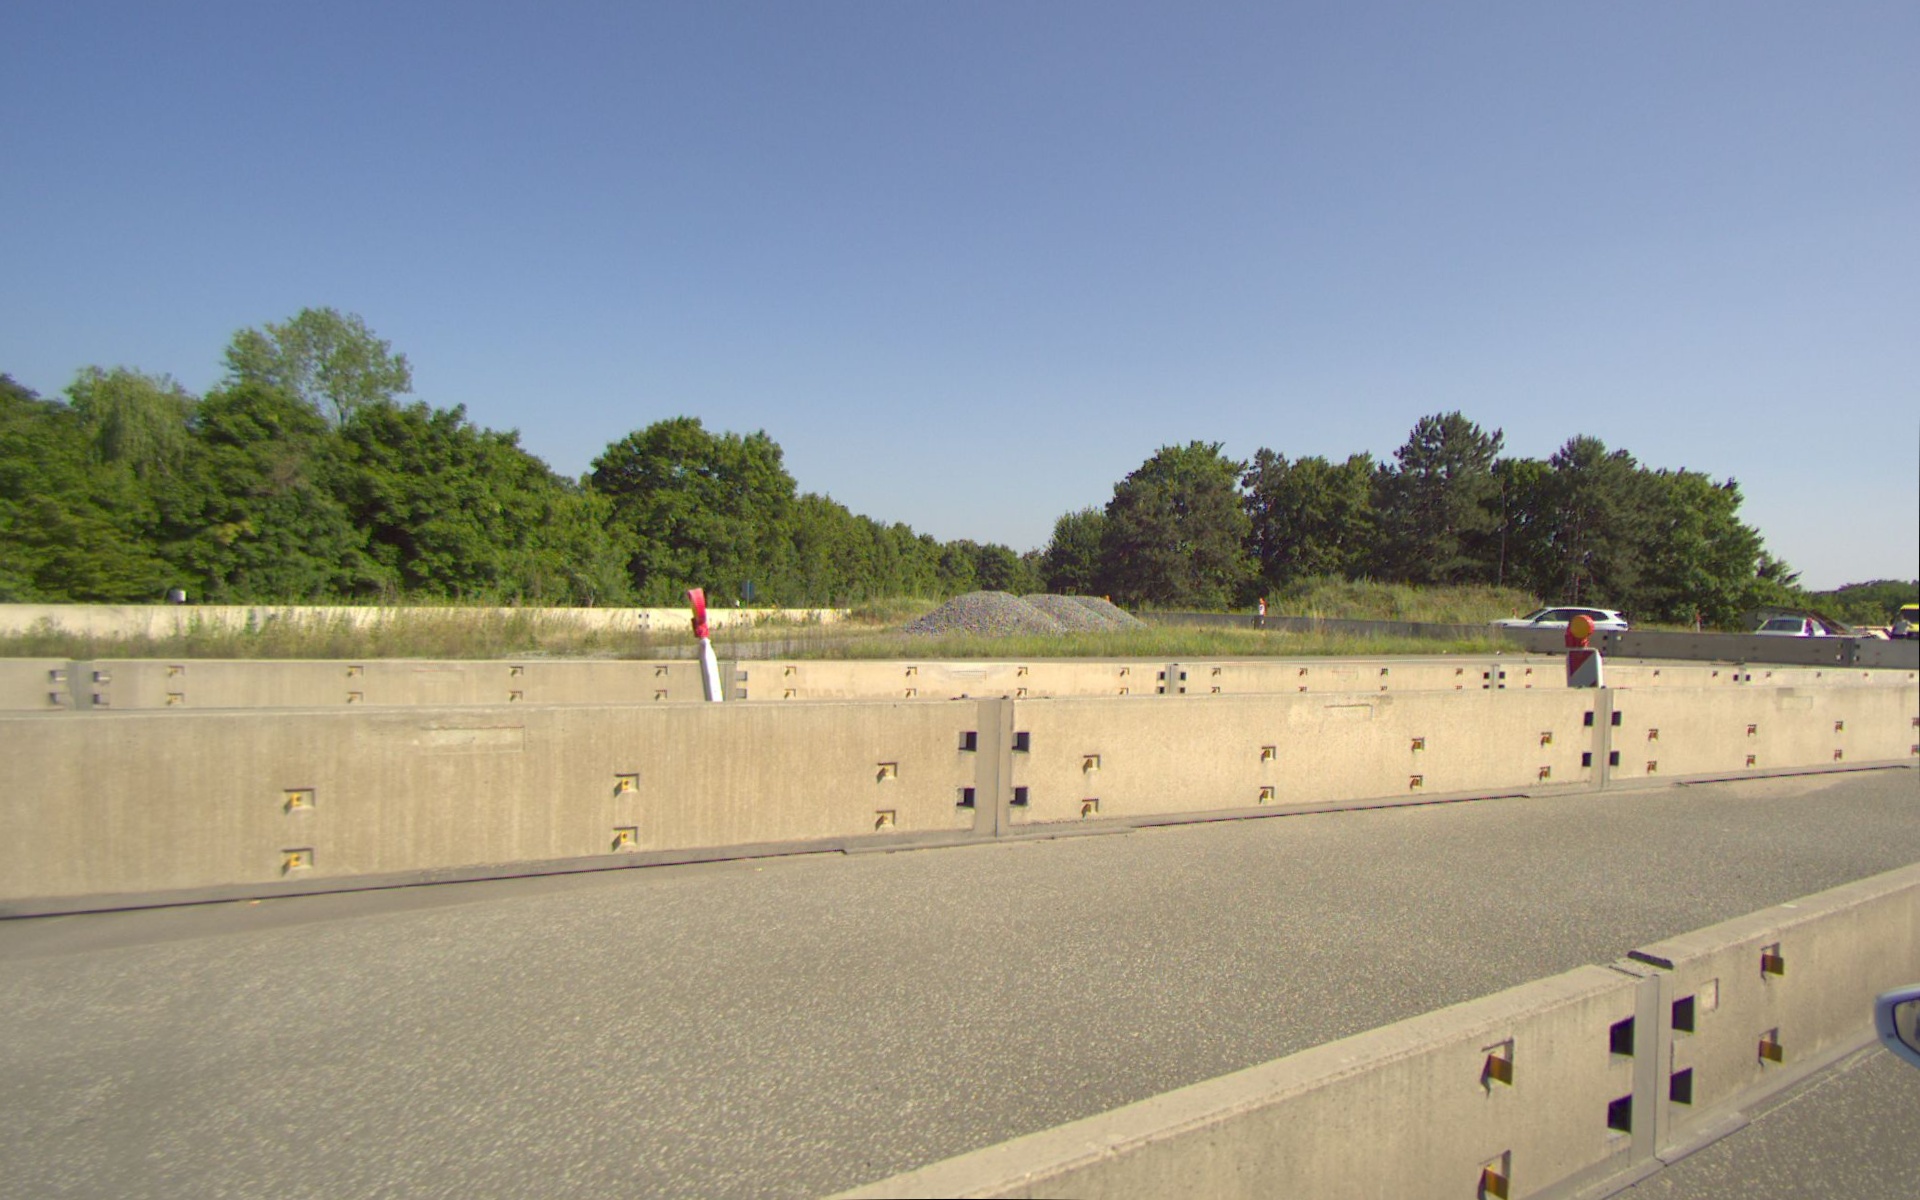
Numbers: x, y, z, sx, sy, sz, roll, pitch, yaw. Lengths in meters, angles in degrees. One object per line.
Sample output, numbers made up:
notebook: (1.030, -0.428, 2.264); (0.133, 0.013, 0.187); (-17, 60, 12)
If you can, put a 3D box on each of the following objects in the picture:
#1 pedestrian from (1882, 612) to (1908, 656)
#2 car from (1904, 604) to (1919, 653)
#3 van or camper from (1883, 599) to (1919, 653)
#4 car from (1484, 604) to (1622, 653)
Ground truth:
pedestrian: (39.864, 1.453, 42.831); (0.791, 1.844, 0.734); (1, 0, -41)
car: (35.041, 1.057, 33.822); (4.755, 1.643, 1.999); (2, 1, -3)
van or camper: (45.816, 1.237, 47.523); (6.142, 2.410, 1.979); (1, 1, -36)
car: (21.190, 0.981, 36.073); (3.922, 1.575, 1.960); (2, 1, 21)
